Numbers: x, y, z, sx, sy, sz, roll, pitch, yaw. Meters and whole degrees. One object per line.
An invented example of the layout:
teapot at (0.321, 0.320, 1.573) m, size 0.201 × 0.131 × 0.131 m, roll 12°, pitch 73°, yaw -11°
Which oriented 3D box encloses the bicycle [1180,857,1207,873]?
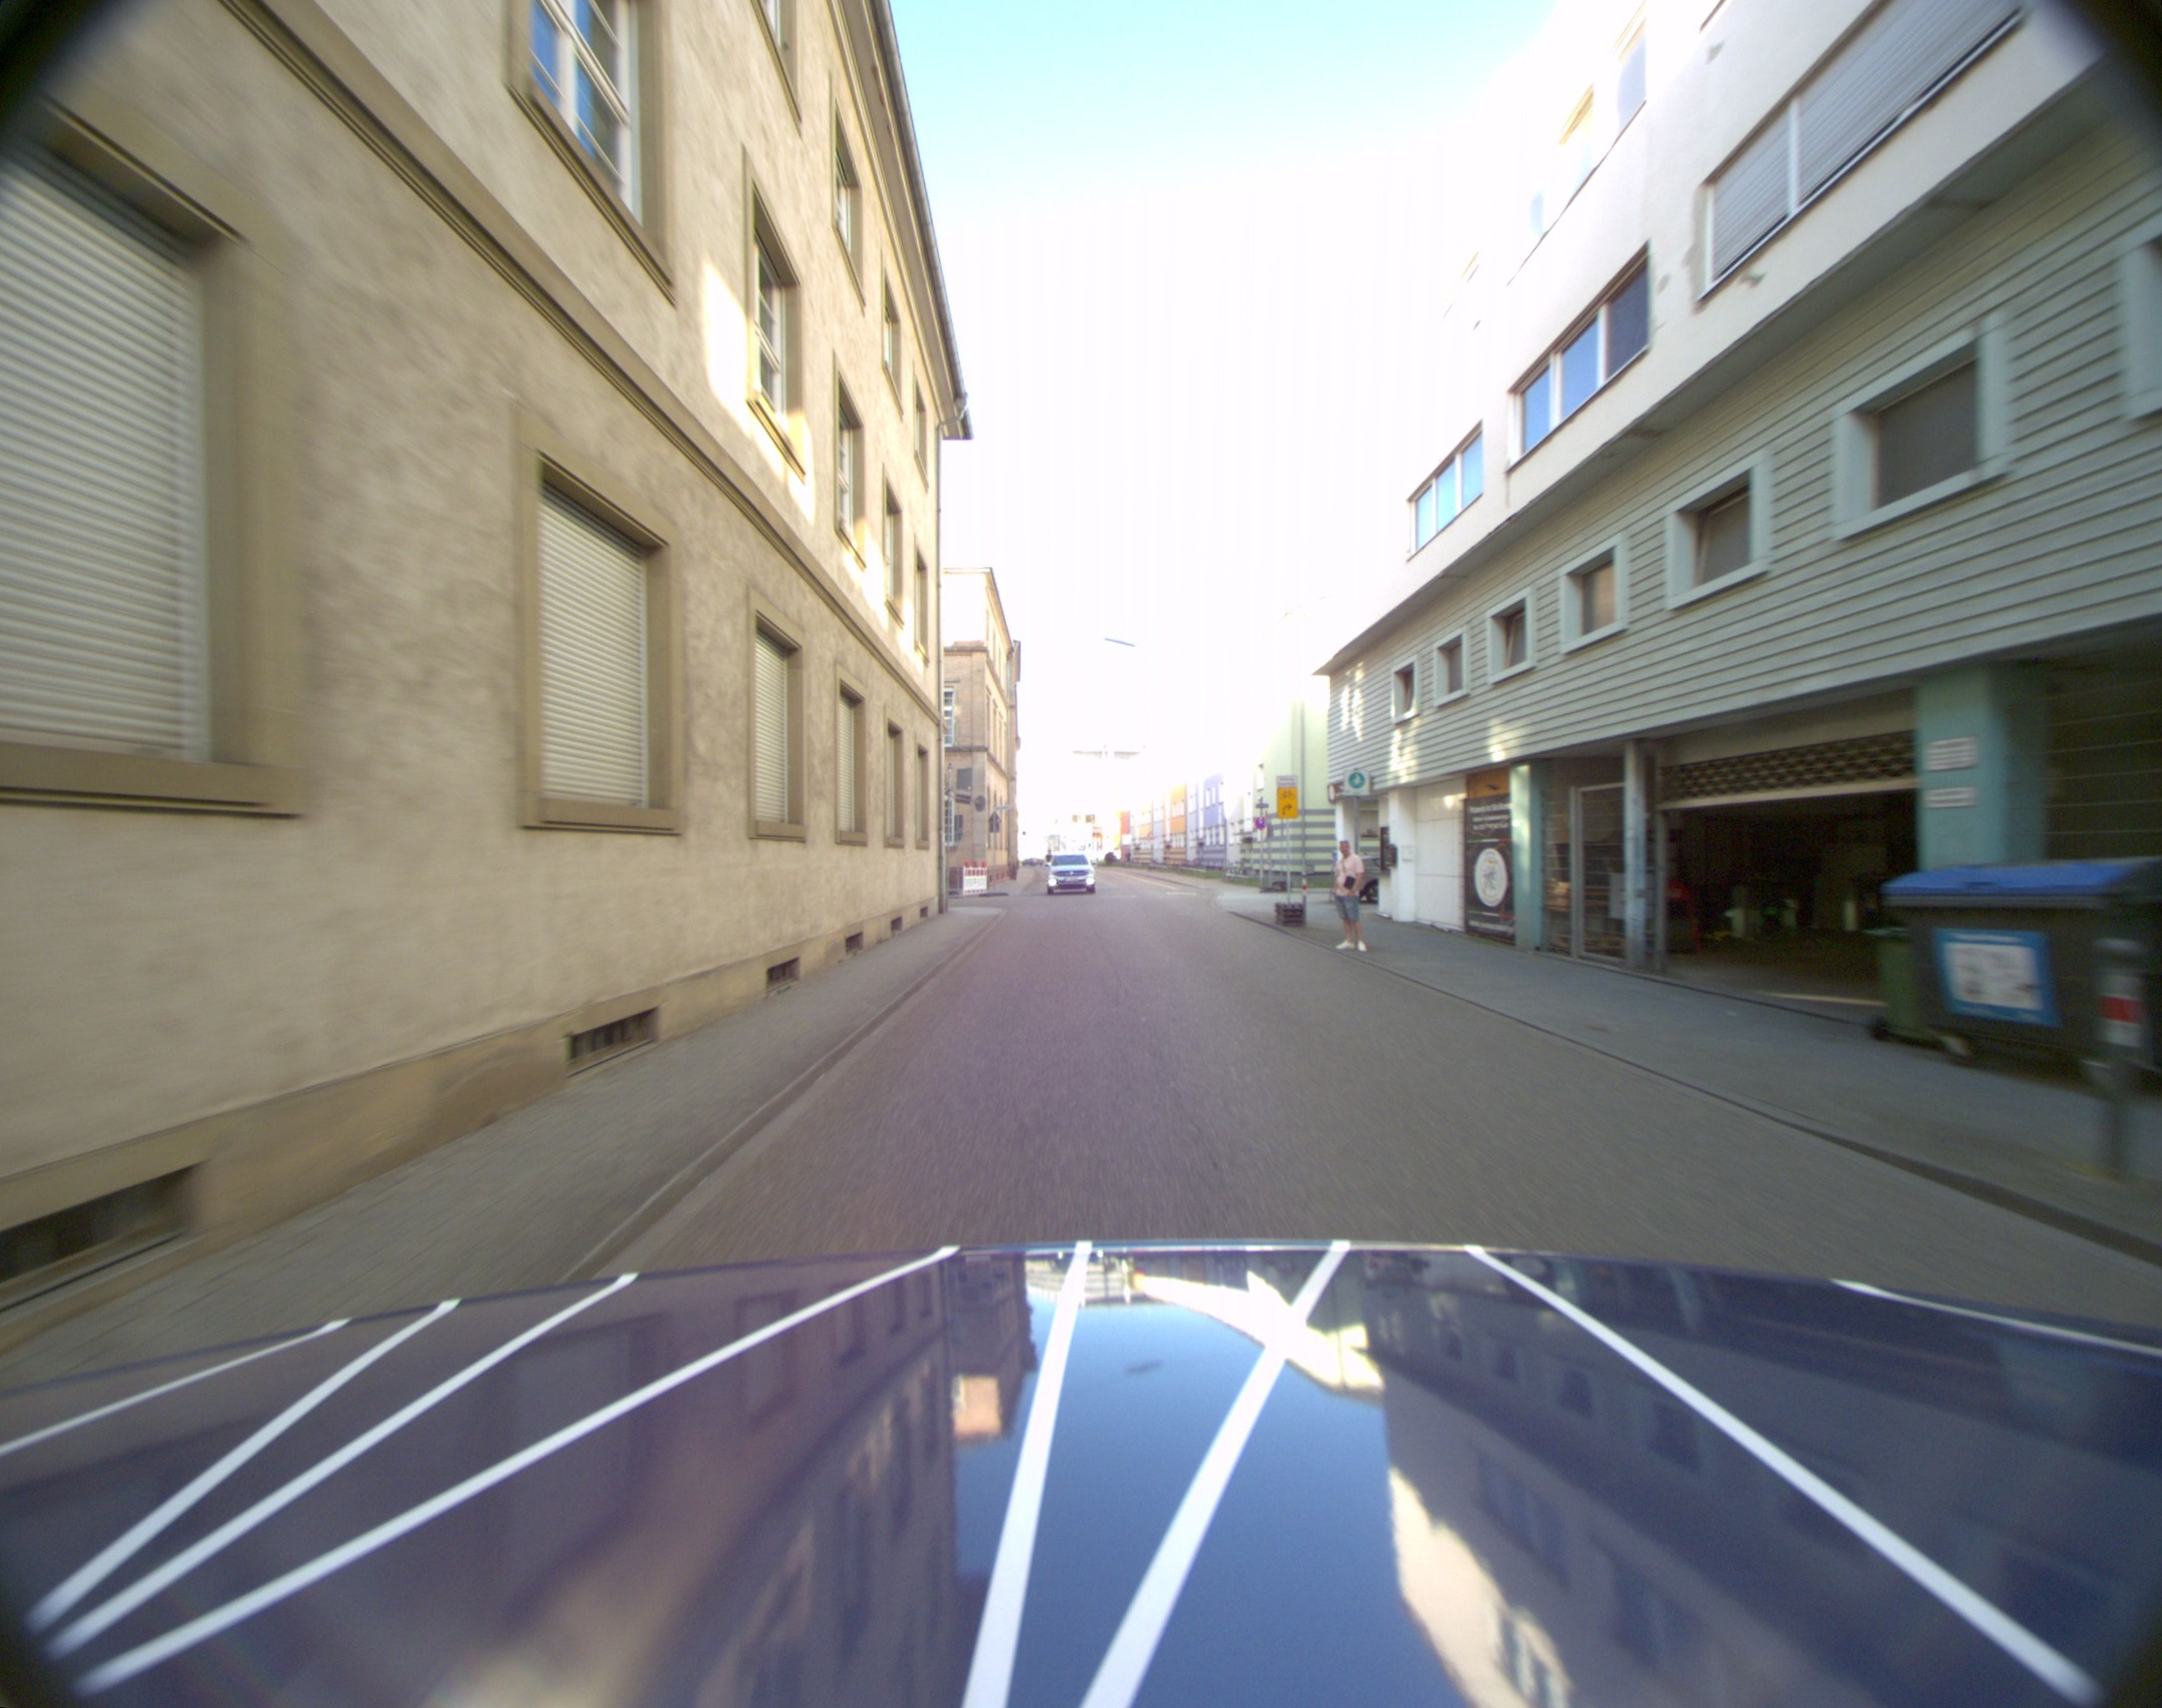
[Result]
bicycle at (7.939, 0.774, 53.756) m, size 1.803 × 0.940 × 0.388 m, roll -4°, pitch 1°, yaw -1°

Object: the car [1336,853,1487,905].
car at (10.133, 0.730, 23.443) m, size 3.942 × 1.511 × 1.692 m, roll 0°, pitch 0°, yaw -2°

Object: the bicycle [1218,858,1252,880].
bicycle at (8.302, 0.811, 41.000) m, size 1.739 × 1.094 × 0.388 m, roll -4°, pitch 1°, yaw -8°

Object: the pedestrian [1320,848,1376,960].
pedestrian at (4.129, 0.756, 11.763) m, size 0.494 × 1.660 × 0.627 m, roll -3°, pitch 1°, yaw -13°

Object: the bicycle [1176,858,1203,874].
bicycle at (7.588, 0.824, 53.057) m, size 1.803 × 0.940 × 0.388 m, roll -4°, pitch 1°, yaw -1°

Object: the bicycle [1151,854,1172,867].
bicycle at (7.372, 0.583, 69.751) m, size 1.808 × 0.977 × 0.654 m, roll -5°, pitch 1°, yaw -5°

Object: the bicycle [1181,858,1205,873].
bicycle at (8.112, 0.824, 55.016) m, size 1.657 × 0.940 × 0.388 m, roll -4°, pitch 1°, yaw -1°

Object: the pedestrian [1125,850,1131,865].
pedestrian at (5.319, 0.387, 86.066) m, size 0.612 × 1.641 × 0.447 m, roll -1°, pitch 1°, yaw -7°

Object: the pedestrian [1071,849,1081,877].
pedestrian at (-0.310, 0.556, 47.656) m, size 0.603 × 1.770 × 0.652 m, roll -1°, pitch 1°, yaw -2°

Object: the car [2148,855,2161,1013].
car at (11.337, 0.764, 5.142) m, size 1.766 × 1.526 × 4.601 m, roll -1°, pitch 0°, yaw 0°

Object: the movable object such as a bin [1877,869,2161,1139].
movable object such as a bin at (6.356, 0.830, 4.854) m, size 0.971 × 1.462 × 1.474 m, roll 0°, pitch -1°, yaw -1°

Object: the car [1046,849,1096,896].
car at (-0.402, 0.652, 29.129) m, size 1.683 × 1.568 × 4.242 m, roll -4°, pitch 0°, yaw -2°

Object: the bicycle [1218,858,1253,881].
bicycle at (8.231, 0.816, 40.594) m, size 1.739 × 1.094 × 0.388 m, roll -4°, pitch 1°, yaw -8°

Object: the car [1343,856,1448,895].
car at (12.114, 0.806, 29.403) m, size 3.343 × 1.428 × 1.725 m, roll 0°, pitch 0°, yaw -2°

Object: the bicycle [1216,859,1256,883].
bicycle at (7.995, 0.868, 39.154) m, size 1.820 × 1.094 × 0.749 m, roll -4°, pitch 1°, yaw -2°

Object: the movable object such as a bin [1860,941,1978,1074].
movable object such as a bin at (6.444, 1.162, 5.857) m, size 0.394 × 0.936 × 0.467 m, roll 0°, pitch 0°, yaw -1°

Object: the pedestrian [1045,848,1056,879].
pedestrian at (-1.924, 0.568, 47.808) m, size 0.677 × 1.928 × 0.858 m, roll -1°, pitch 1°, yaw -2°

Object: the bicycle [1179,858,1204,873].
bicycle at (8.060, 0.818, 55.421) m, size 1.657 × 0.940 × 0.388 m, roll -4°, pitch 1°, yaw -1°
